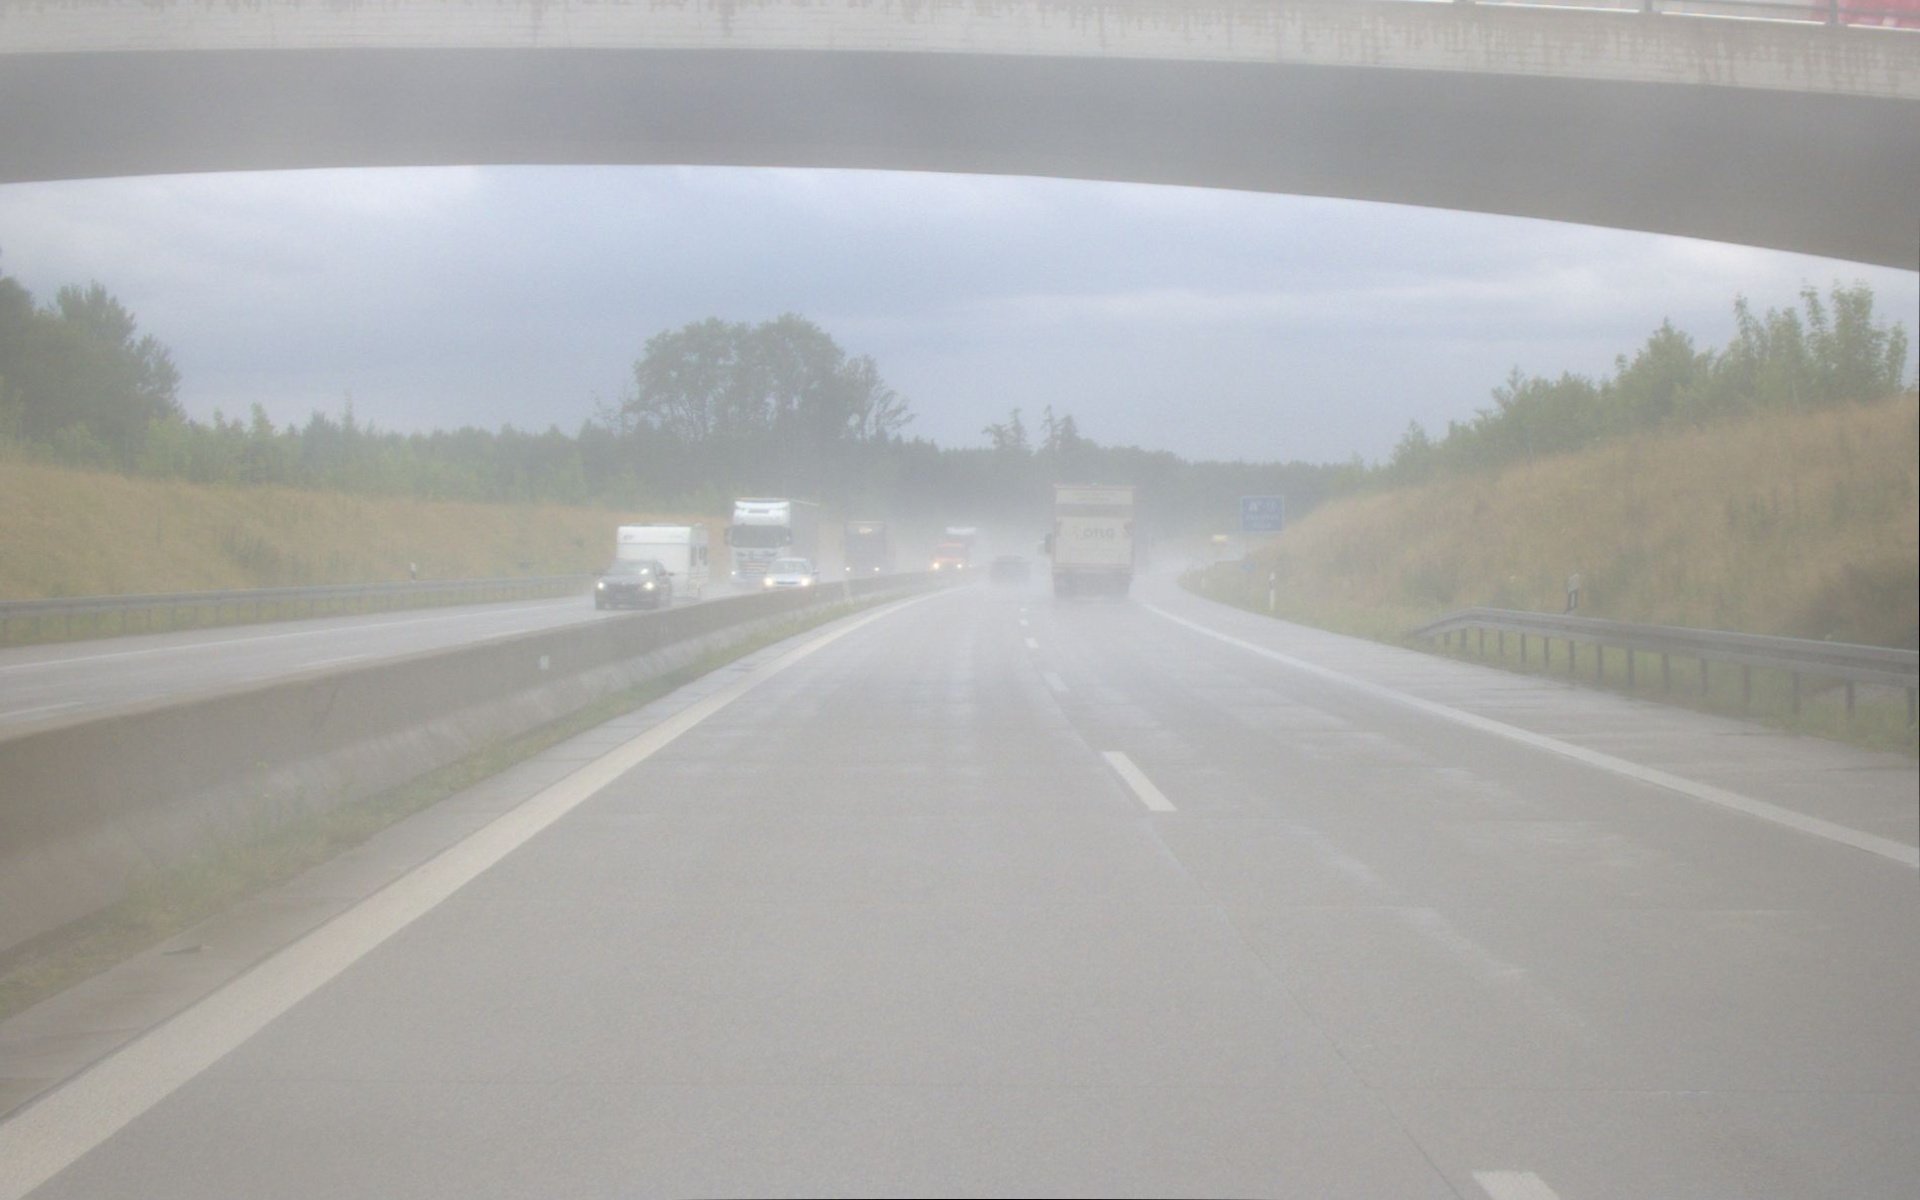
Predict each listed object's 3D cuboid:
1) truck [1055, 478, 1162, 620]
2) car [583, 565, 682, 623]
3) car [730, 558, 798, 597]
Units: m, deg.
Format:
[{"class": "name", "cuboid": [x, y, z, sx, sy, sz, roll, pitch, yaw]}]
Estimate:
[{"class": "truck", "cuboid": [4.882, -1.715, 111.675, 3.244, 4.421, 8.245, 0, 2, 4]}, {"class": "car", "cuboid": [-9.584, -0.195, 101.026, 2.286, 1.552, 5.182, 2, 1, 1]}, {"class": "car", "cuboid": [-6.666, -0.787, 117.132, 1.993, 1.306, 4.511, 0, 1, 1]}]
